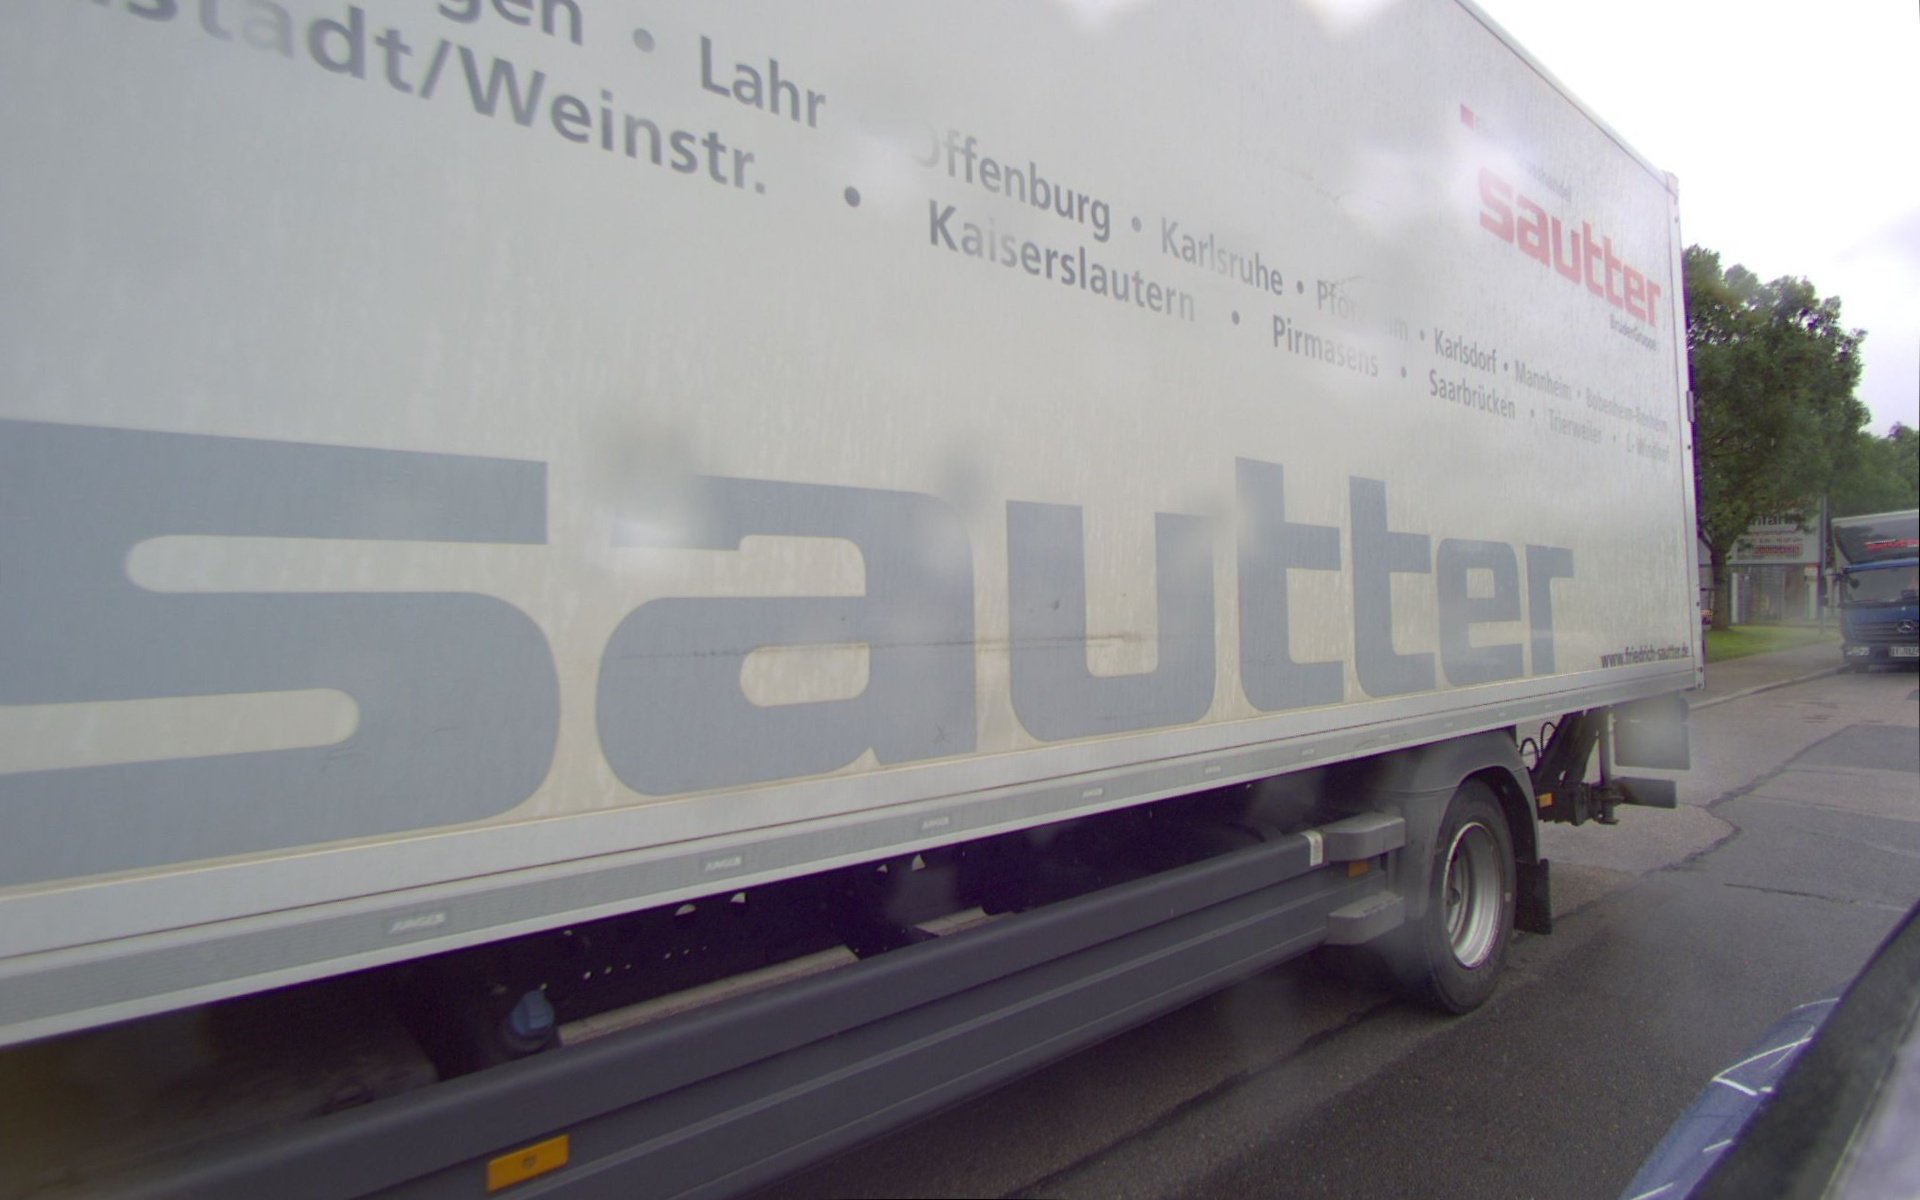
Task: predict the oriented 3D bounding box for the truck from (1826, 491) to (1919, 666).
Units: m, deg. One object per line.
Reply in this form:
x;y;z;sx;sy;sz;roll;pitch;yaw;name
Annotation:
23.355;-0.470;24.309;7.870;3.740;2.675;0;-2;-41;truck

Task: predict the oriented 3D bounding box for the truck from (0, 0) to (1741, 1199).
-0.181;-0.402;3.548;9.136;3.838;2.745;0;-2;-41;truck
